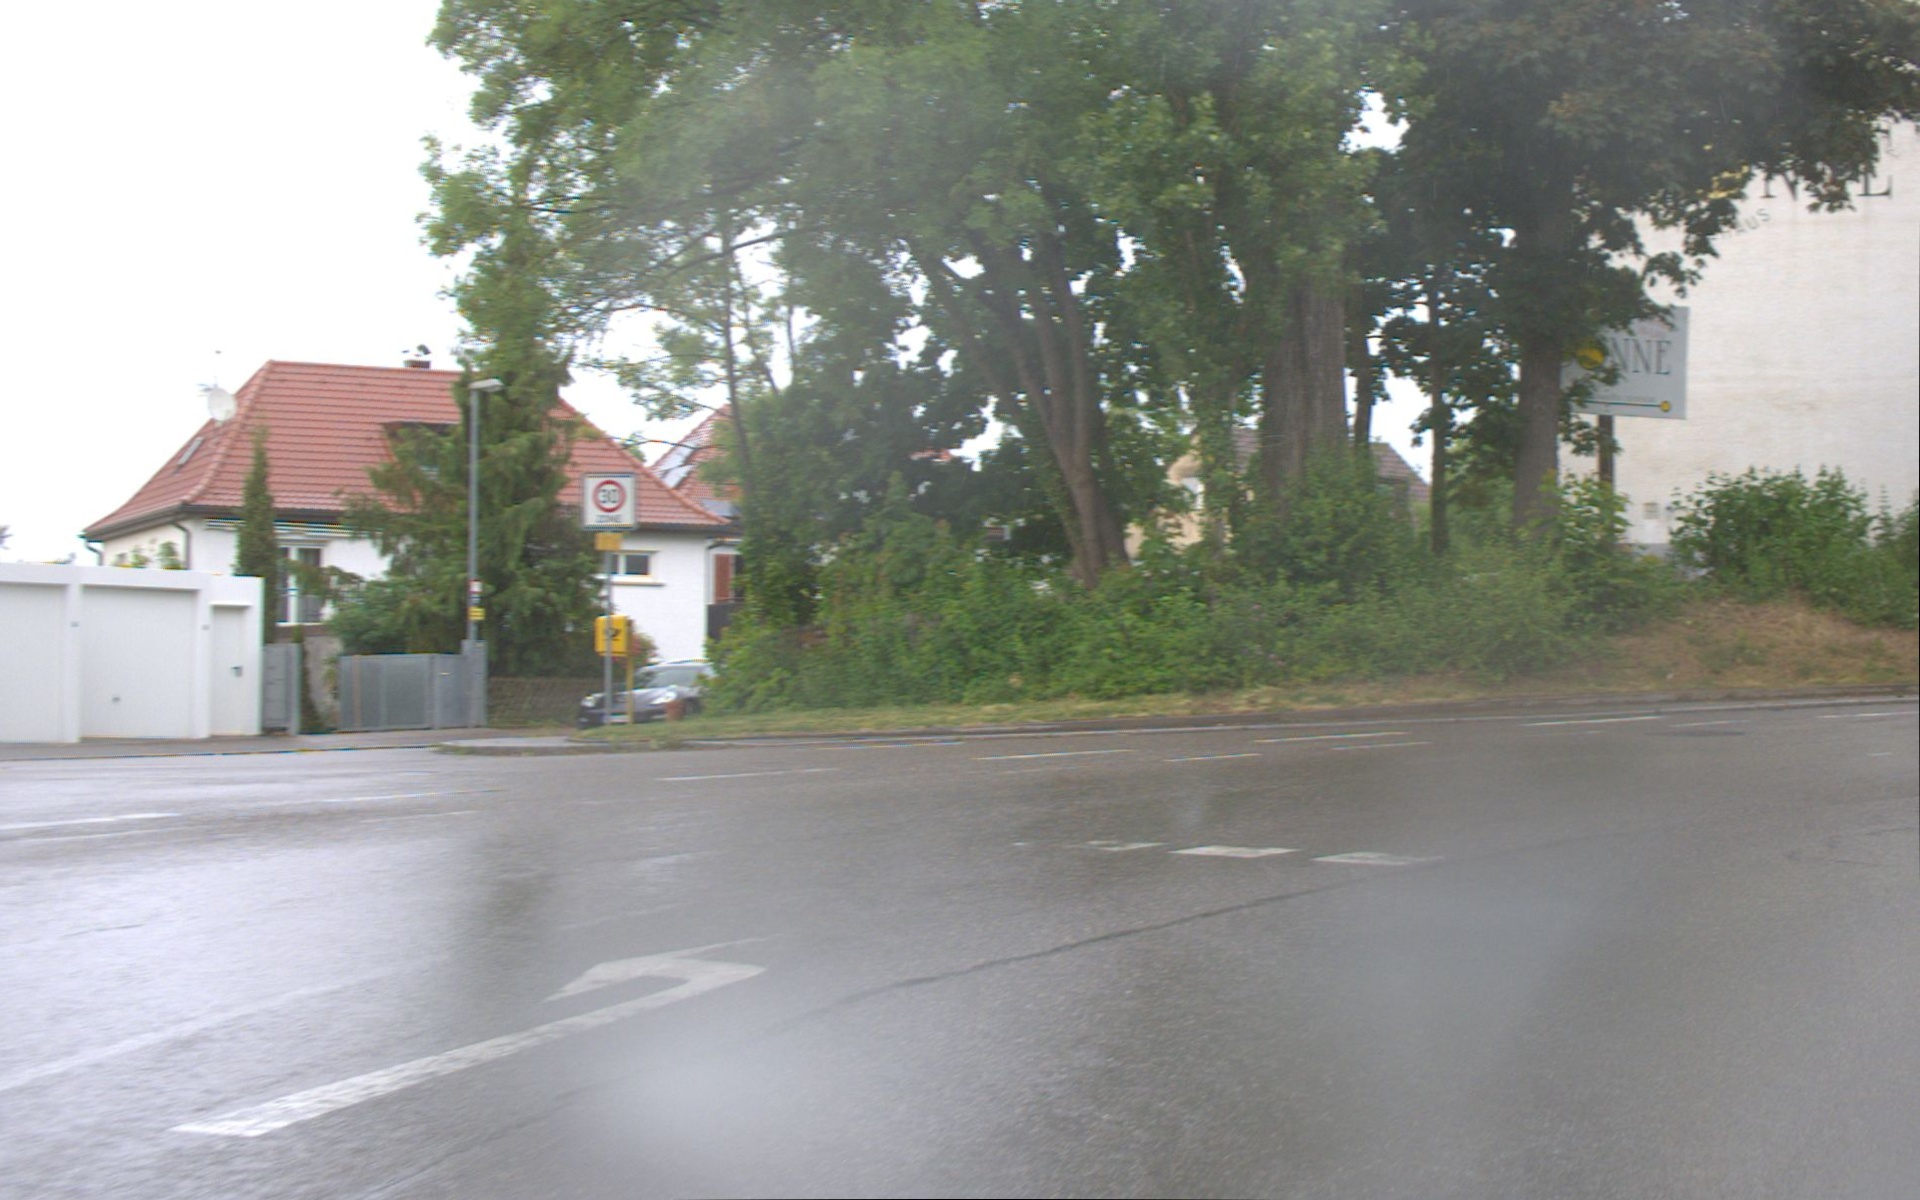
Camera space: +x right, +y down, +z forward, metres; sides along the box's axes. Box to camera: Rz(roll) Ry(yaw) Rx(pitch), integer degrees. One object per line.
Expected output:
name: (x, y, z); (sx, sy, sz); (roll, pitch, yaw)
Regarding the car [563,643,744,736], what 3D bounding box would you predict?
car: (-5.323, 1.539, 60.173); (1.995, 1.503, 3.998); (-1, 0, 13)
